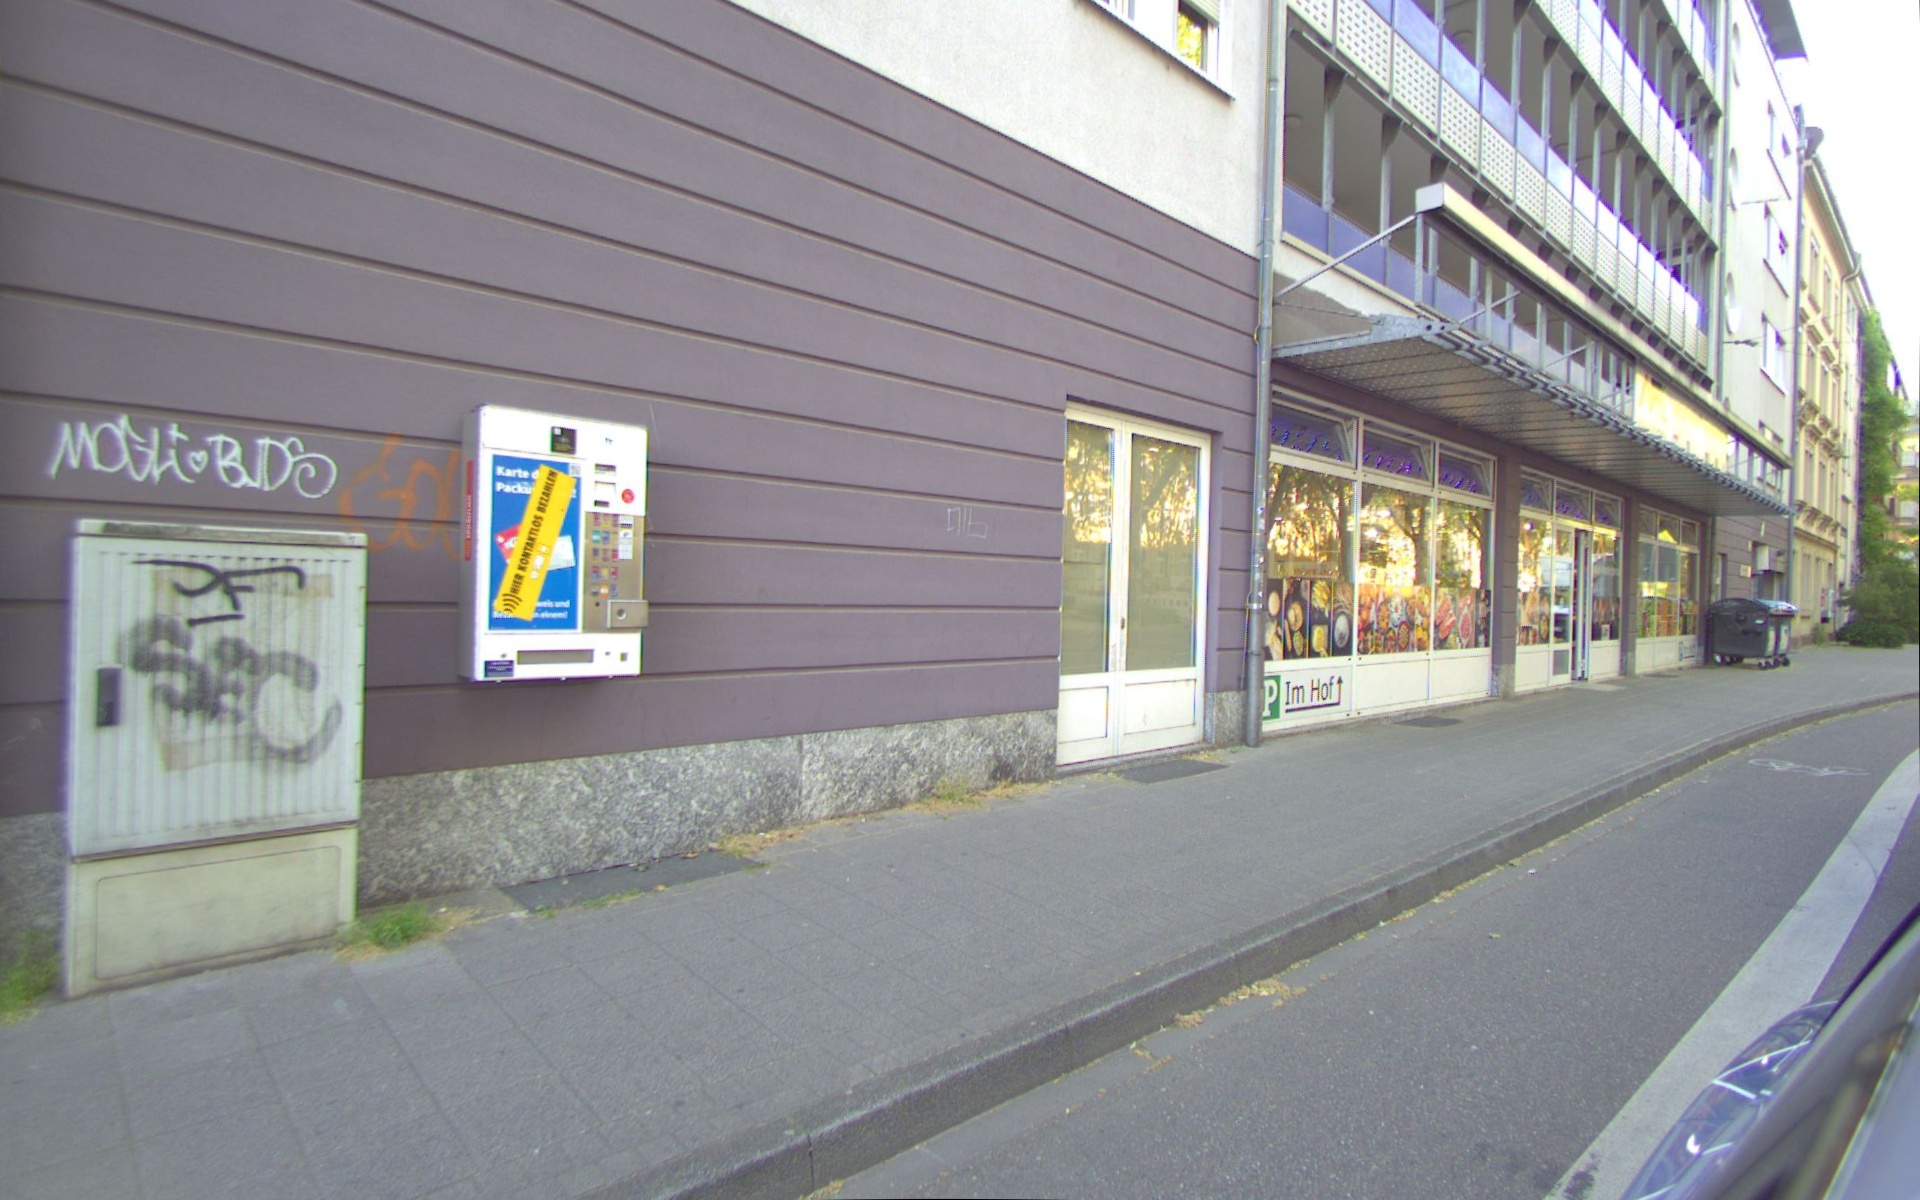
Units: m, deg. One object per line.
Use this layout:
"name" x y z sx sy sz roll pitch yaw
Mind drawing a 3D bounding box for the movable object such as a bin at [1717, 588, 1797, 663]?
"movable object such as a bin" 16.442 0.497 20.880 1.274 1.465 1.068 1 1 -42

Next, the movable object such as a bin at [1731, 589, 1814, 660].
"movable object such as a bin" 17.791 0.517 22.167 1.282 1.464 1.123 1 1 -38
